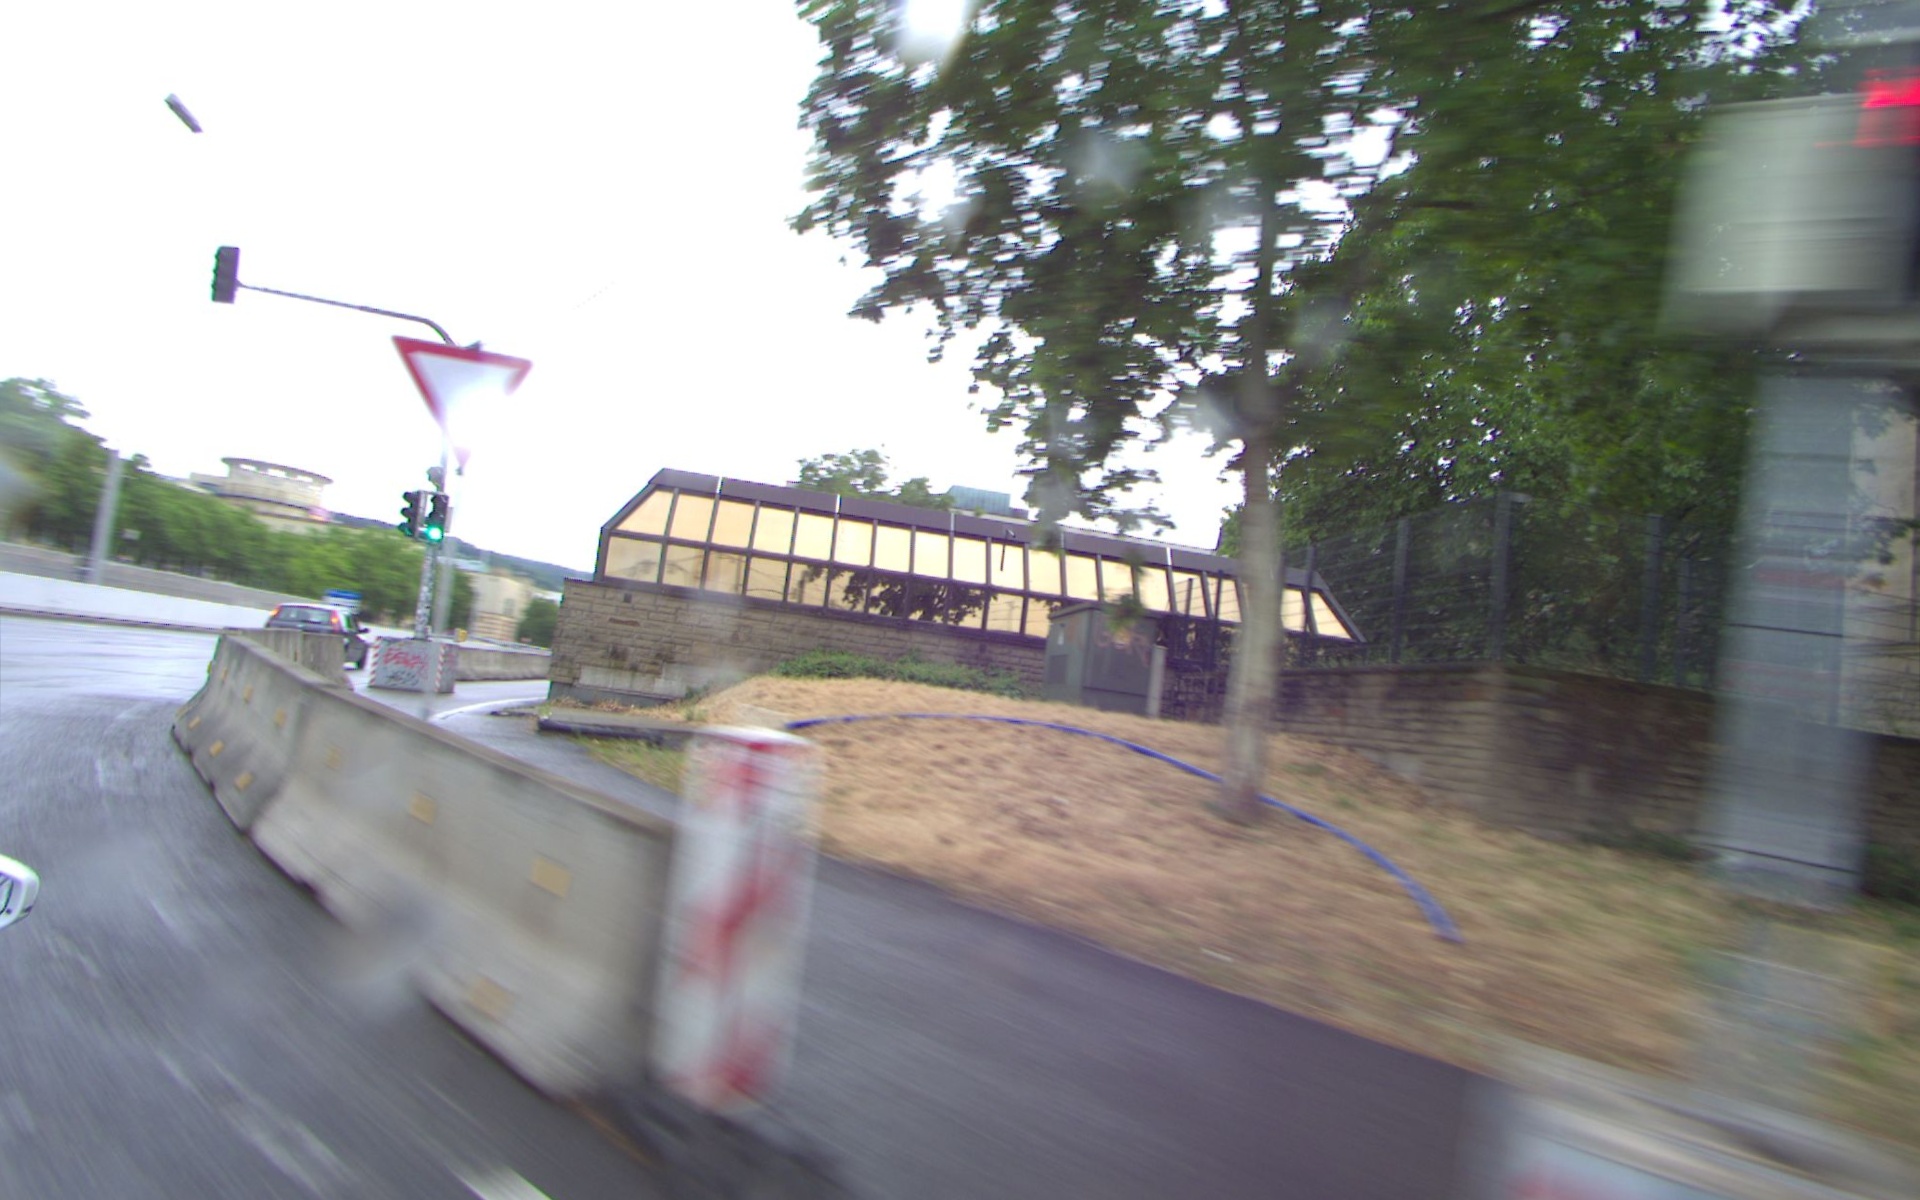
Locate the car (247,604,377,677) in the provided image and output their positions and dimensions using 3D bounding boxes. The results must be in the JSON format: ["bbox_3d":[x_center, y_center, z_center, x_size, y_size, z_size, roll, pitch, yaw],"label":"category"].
[{"bbox_3d":[-15.208,1.025,23.817,1.651,1.441,3.750,6,-6,-20],"label":"car"}]
